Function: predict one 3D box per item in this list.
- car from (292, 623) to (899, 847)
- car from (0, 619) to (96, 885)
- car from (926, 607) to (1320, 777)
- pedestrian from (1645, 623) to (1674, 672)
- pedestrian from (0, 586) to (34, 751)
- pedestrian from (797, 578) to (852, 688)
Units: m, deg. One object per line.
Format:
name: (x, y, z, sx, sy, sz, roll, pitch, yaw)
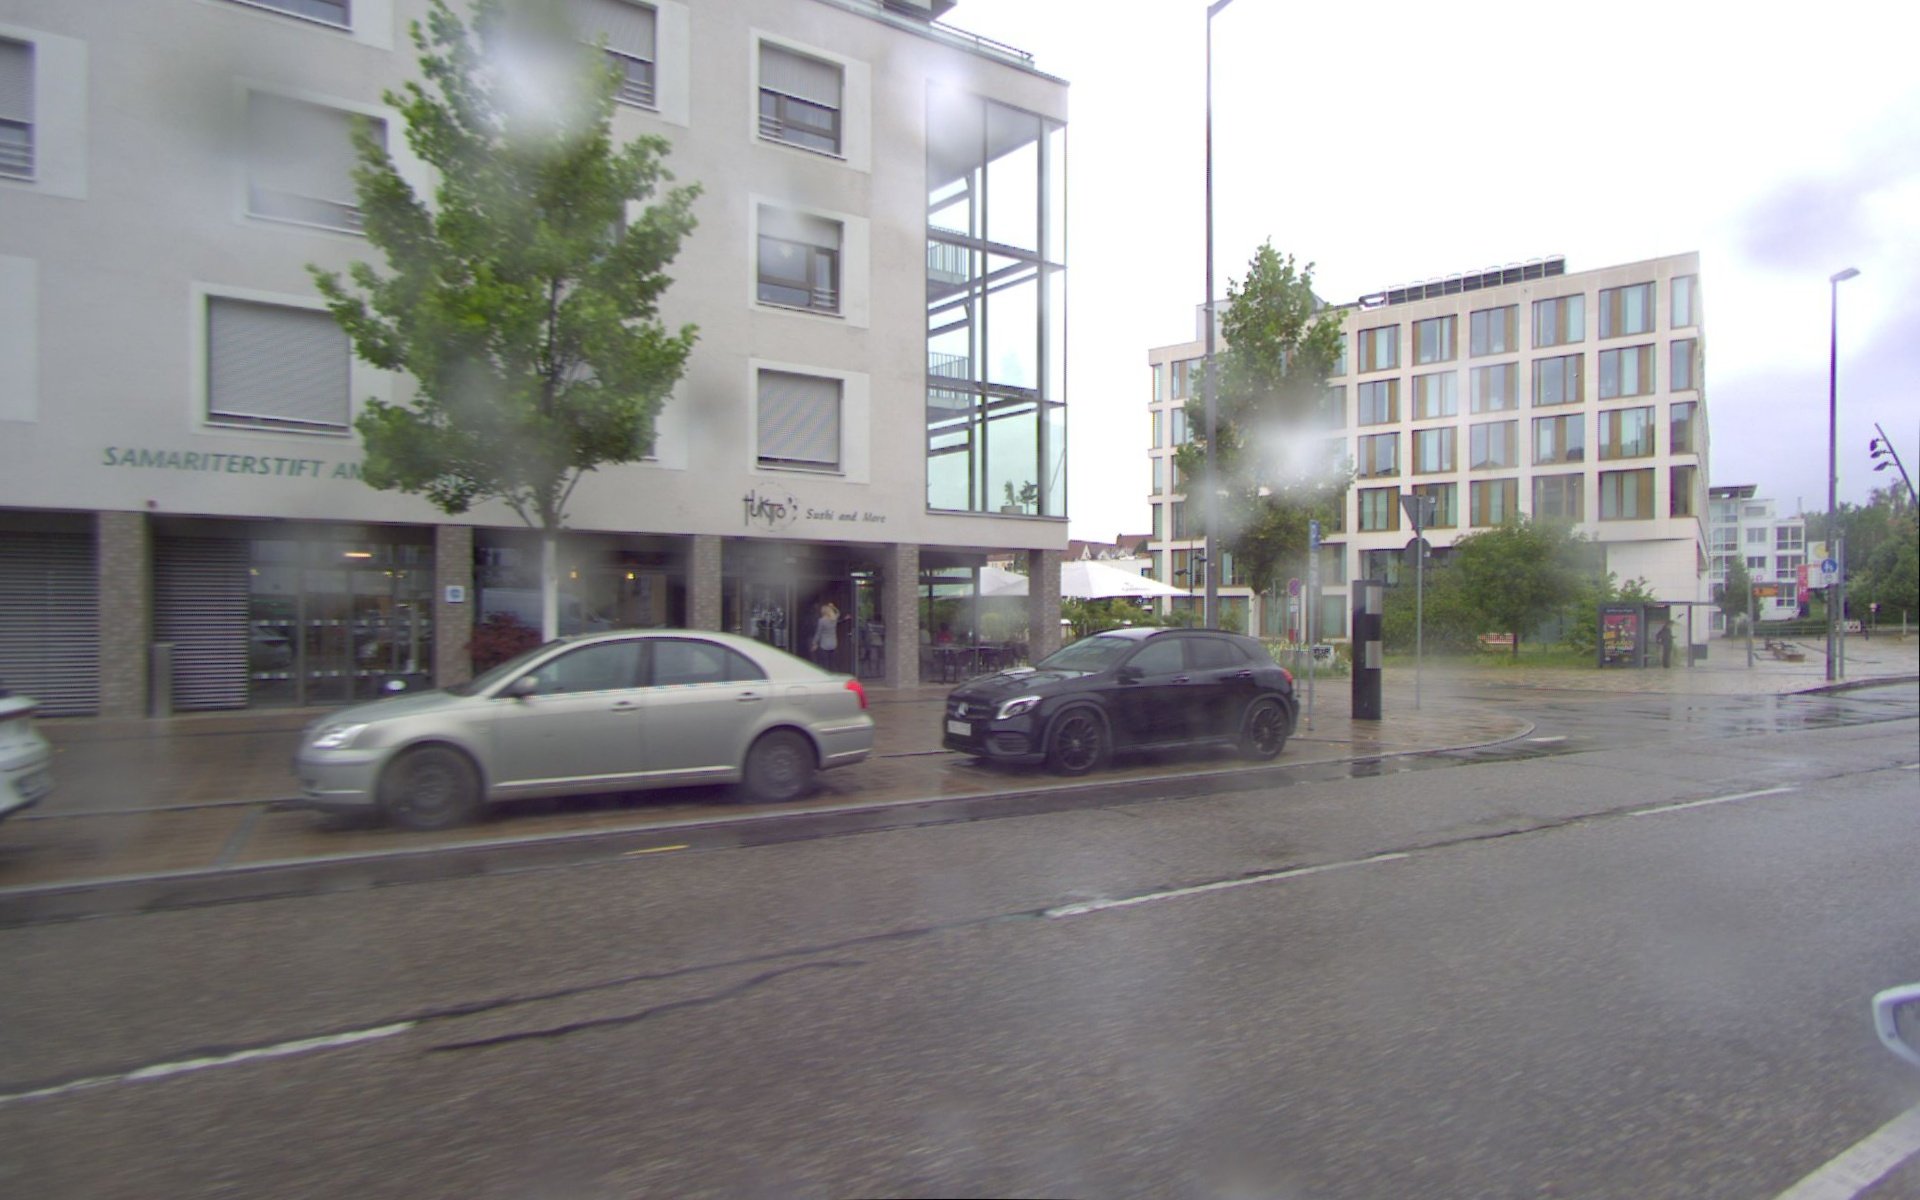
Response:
car: (-2.942, 1.040, 8.712, 4.520, 1.529, 1.685, 3, -3, -28)
car: (-7.677, 0.785, 5.298, 4.430, 1.482, 1.785, 3, -2, -32)
car: (1.921, 0.926, 11.309, 4.419, 1.603, 1.580, 1, -2, -31)
pedestrian: (25.802, 1.749, 37.040, 0.669, 1.768, 0.775, 3, -3, -44)
pedestrian: (-10.845, 0.720, 10.862, 0.992, 1.761, 0.805, 3, -2, -31)
pedestrian: (-2.745, 0.663, 20.310, 0.743, 2.173, 0.762, 3, -1, -39)
